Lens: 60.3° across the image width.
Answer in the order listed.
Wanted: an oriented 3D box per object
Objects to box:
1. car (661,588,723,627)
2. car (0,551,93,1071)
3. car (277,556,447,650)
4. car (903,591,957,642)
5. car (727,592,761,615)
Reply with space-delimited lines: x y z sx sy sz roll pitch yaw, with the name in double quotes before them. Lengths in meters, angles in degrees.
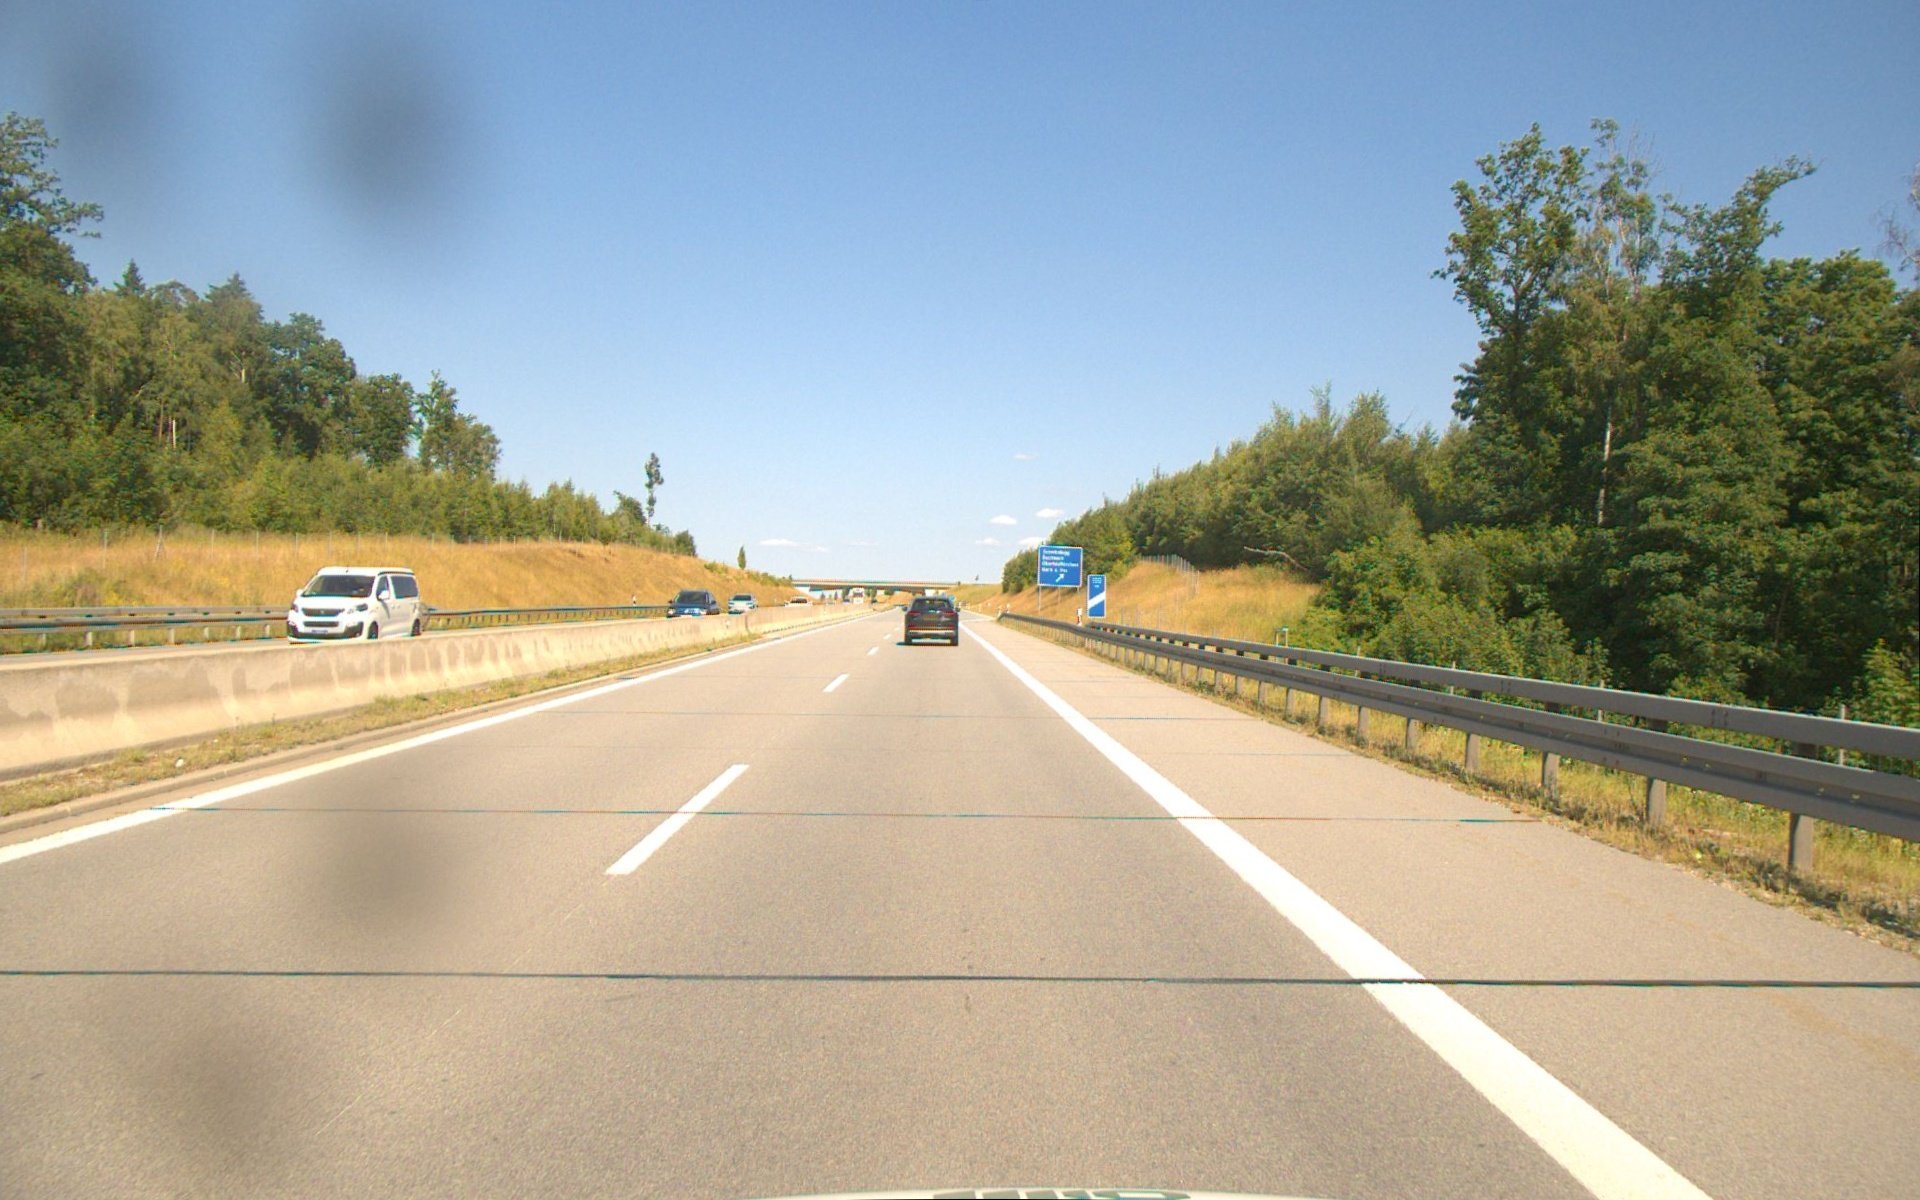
"car" -11.578 0.321 71.651 1.953 1.609 4.649 1 0 -1
"car" -3.756 0.641 3.083 1.736 1.597 4.987 1 0 -1
"car" -14.629 0.063 40.891 1.953 2.119 6.226 1 0 -1
"car" -0.980 0.520 55.465 1.687 1.615 5.221 1 0 -1
"car" -16.186 0.246 124.202 1.953 1.609 4.649 1 0 -1
